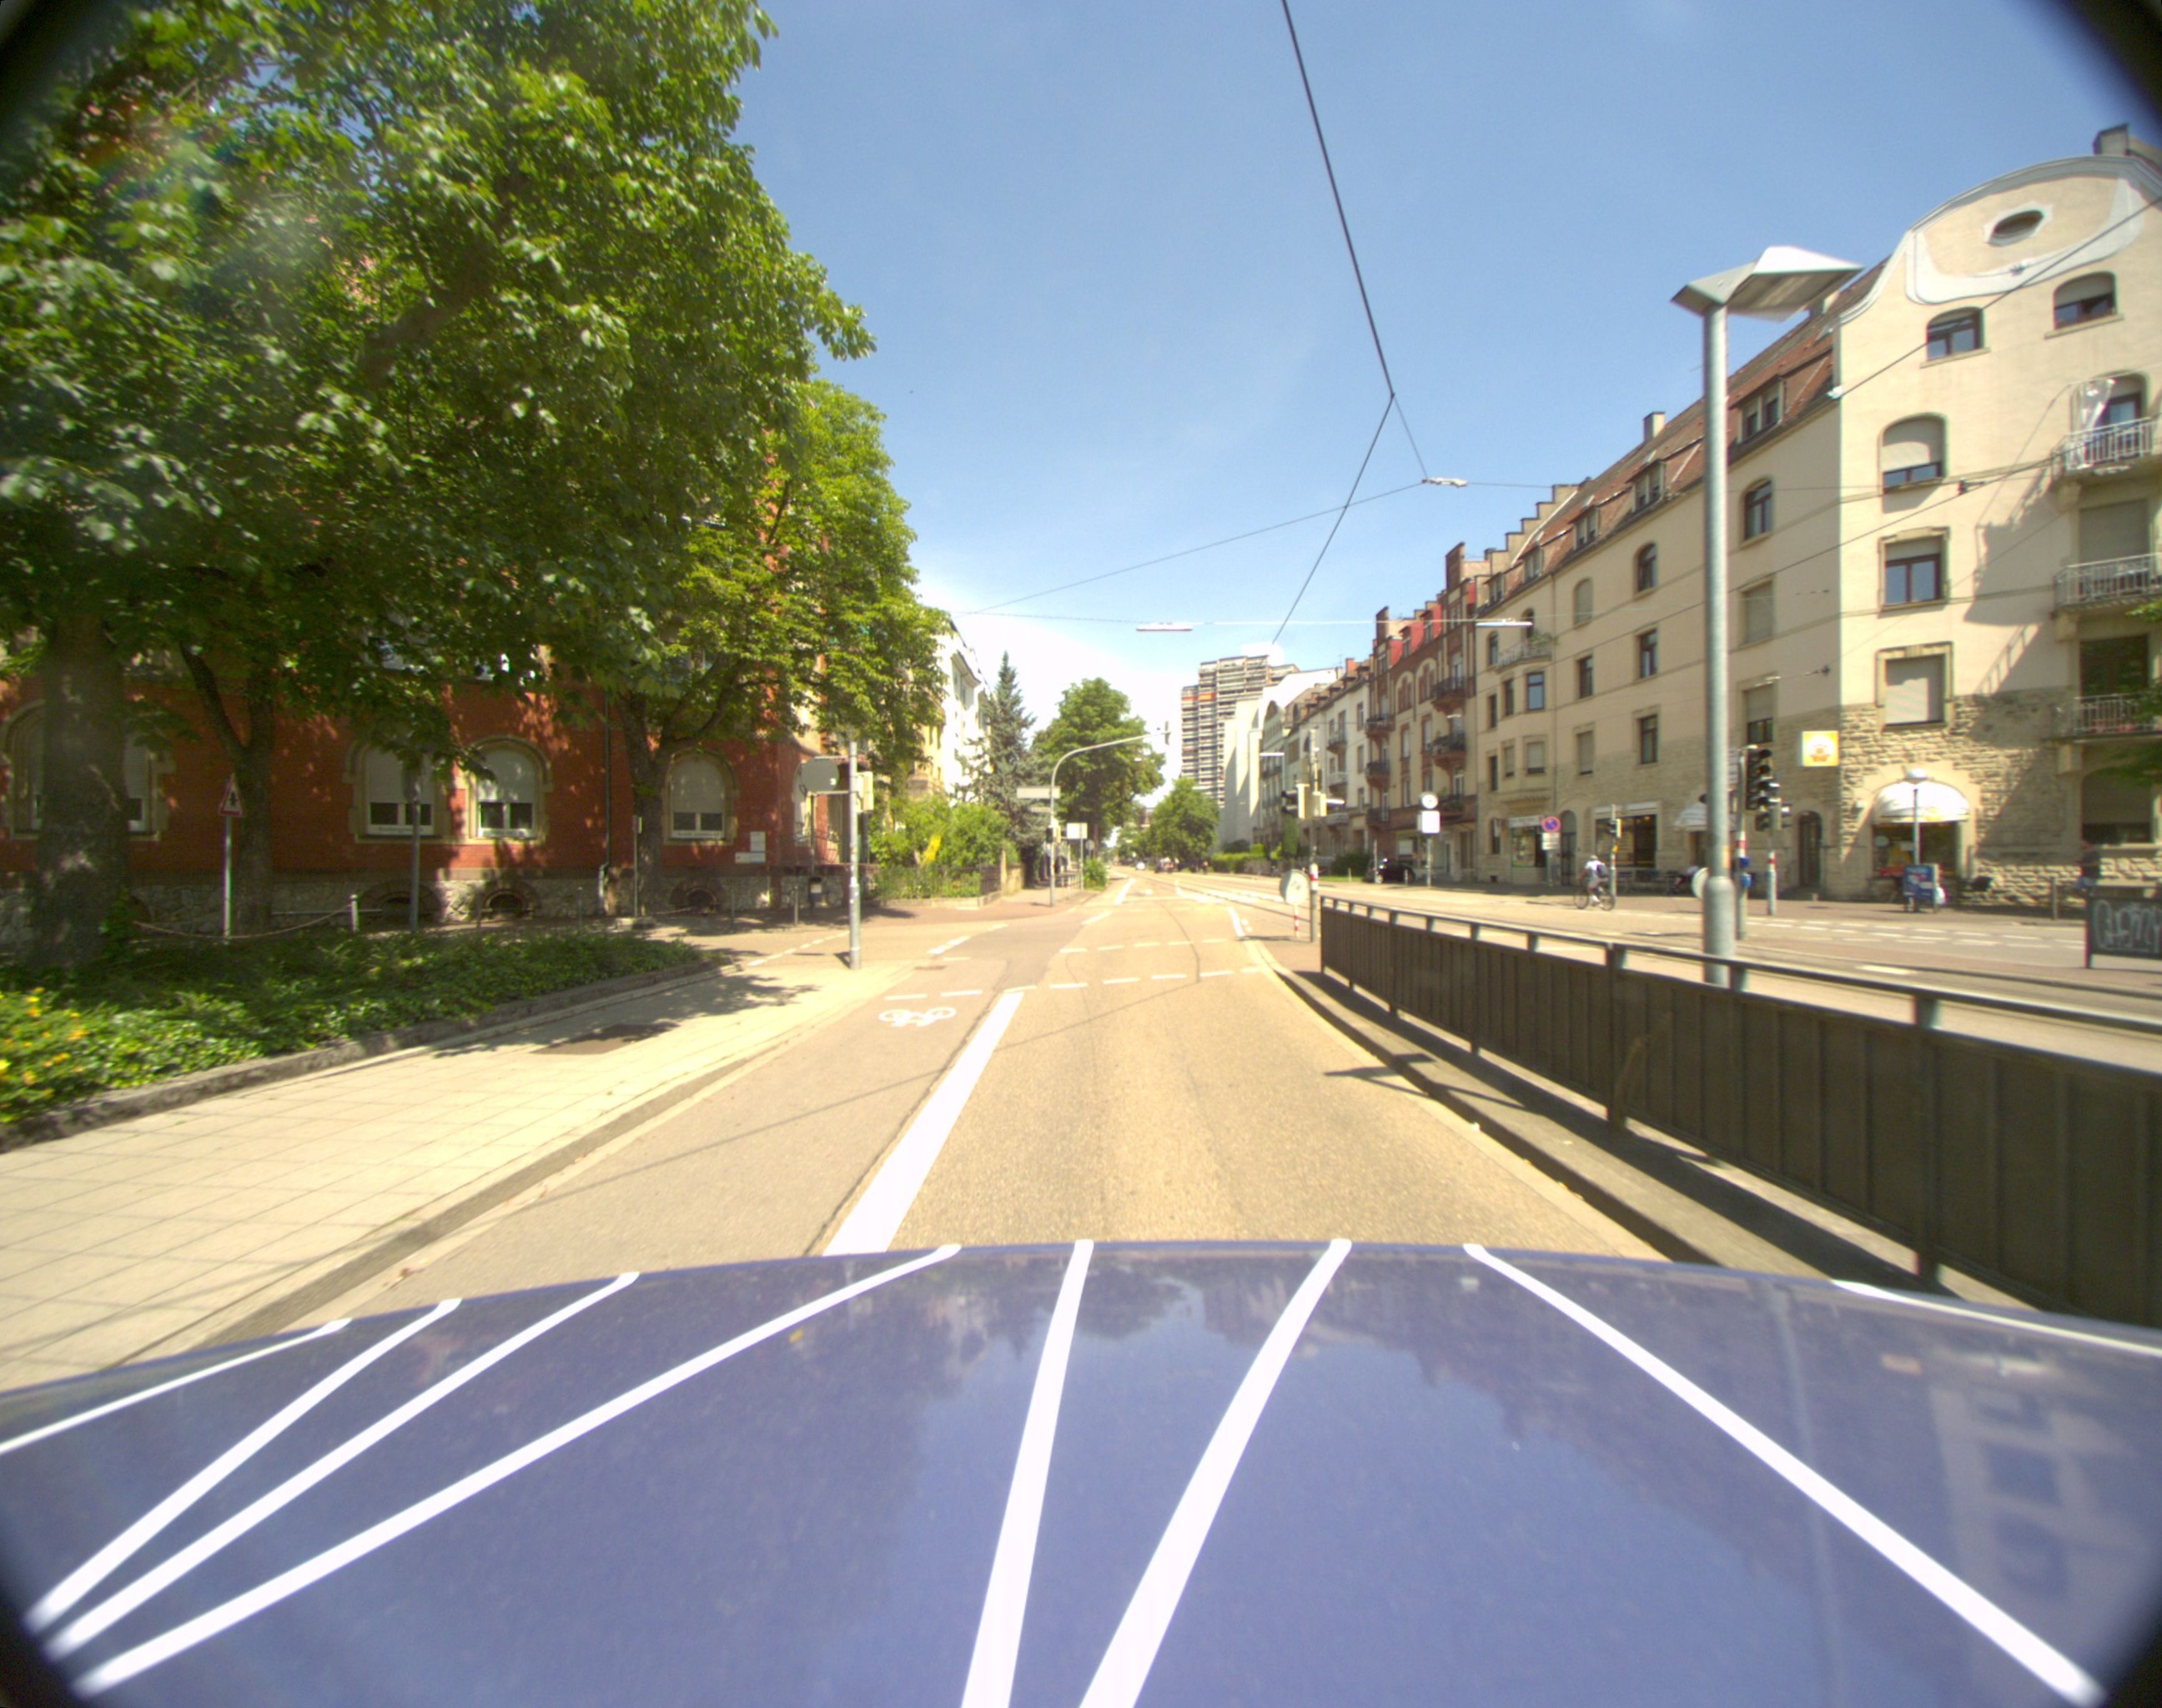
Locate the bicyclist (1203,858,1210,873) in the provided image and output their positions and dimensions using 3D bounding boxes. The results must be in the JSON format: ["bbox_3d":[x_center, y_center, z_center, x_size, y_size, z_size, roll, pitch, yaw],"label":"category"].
[{"bbox_3d":[13.813,1.215,83.746,0.611,1.653,0.579,0,0,0],"label":"bicyclist"}]

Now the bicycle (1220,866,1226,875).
[{"bbox_3d":[17.070,1.939,91.448,0.340,1.062,1.728,-1,0,0],"label":"bicycle"}]

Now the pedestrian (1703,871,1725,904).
[{"bbox_3d":[22.116,1.174,26.554,0.406,1.142,0.405,-1,0,-3],"label":"pedestrian"}]

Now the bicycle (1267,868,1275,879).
[{"bbox_3d":[16.922,1.731,67.659,0.253,0.911,1.614,-1,-1,0],"label":"bicycle"}]

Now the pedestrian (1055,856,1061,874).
[{"bbox_3d":[-2.081,1.020,69.619,0.547,1.683,0.755,0,0,0],"label":"pedestrian"}]

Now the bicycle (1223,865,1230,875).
[{"bbox_3d":[17.146,1.911,89.524,0.340,1.157,1.933,-1,0,0],"label":"bicycle"}]

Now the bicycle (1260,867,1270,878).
[{"bbox_3d":[17.196,1.711,71.186,0.463,0.943,1.954,-1,-1,0],"label":"bicycle"}]

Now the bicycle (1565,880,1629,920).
[{"bbox_3d":[16.060,1.420,23.724,0.630,1.150,1.978,-1,-1,0],"label":"bicycle"}]

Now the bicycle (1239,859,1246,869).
[{"bbox_3d":[17.320,1.100,81.366,0.290,1.040,1.900,-1,0,0],"label":"bicycle"}]

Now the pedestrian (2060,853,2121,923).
[{"bbox_3d":[25.254,0.842,19.017,0.545,1.721,0.728,-1,0,-2],"label":"pedestrian"}]

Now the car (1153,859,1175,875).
[{"bbox_3d":[10.758,1.657,98.624,1.849,1.926,4.820,1,0,-5],"label":"car"}]

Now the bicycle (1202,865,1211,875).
[{"bbox_3d":[13.826,1.736,83.788,0.646,1.068,2.186,0,-1,0],"label":"bicycle"}]

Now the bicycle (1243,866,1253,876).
[{"bbox_3d":[17.205,1.741,78.227,0.493,1.090,2.047,-1,-1,0],"label":"bicycle"}]

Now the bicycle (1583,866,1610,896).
[{"bbox_3d":[21.882,1.127,32.270,0.454,1.218,2.083,-1,0,20],"label":"bicycle"}]

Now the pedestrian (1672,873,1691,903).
[{"bbox_3d":[21.845,1.242,27.637,0.355,1.082,0.405,-1,0,-3],"label":"pedestrian"}]

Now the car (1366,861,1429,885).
[{"bbox_3d":[20.093,1.197,48.372,3.361,1.463,1.530,-1,0,4],"label":"car"}]

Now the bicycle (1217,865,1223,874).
[{"bbox_3d":[17.056,1.938,93.361,0.340,1.062,1.728,-1,0,0],"label":"bicycle"}]

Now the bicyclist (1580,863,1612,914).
[{"bbox_3d":[16.049,1.057,23.680,0.609,1.565,0.585,-1,0,0],"label":"bicyclist"}]
